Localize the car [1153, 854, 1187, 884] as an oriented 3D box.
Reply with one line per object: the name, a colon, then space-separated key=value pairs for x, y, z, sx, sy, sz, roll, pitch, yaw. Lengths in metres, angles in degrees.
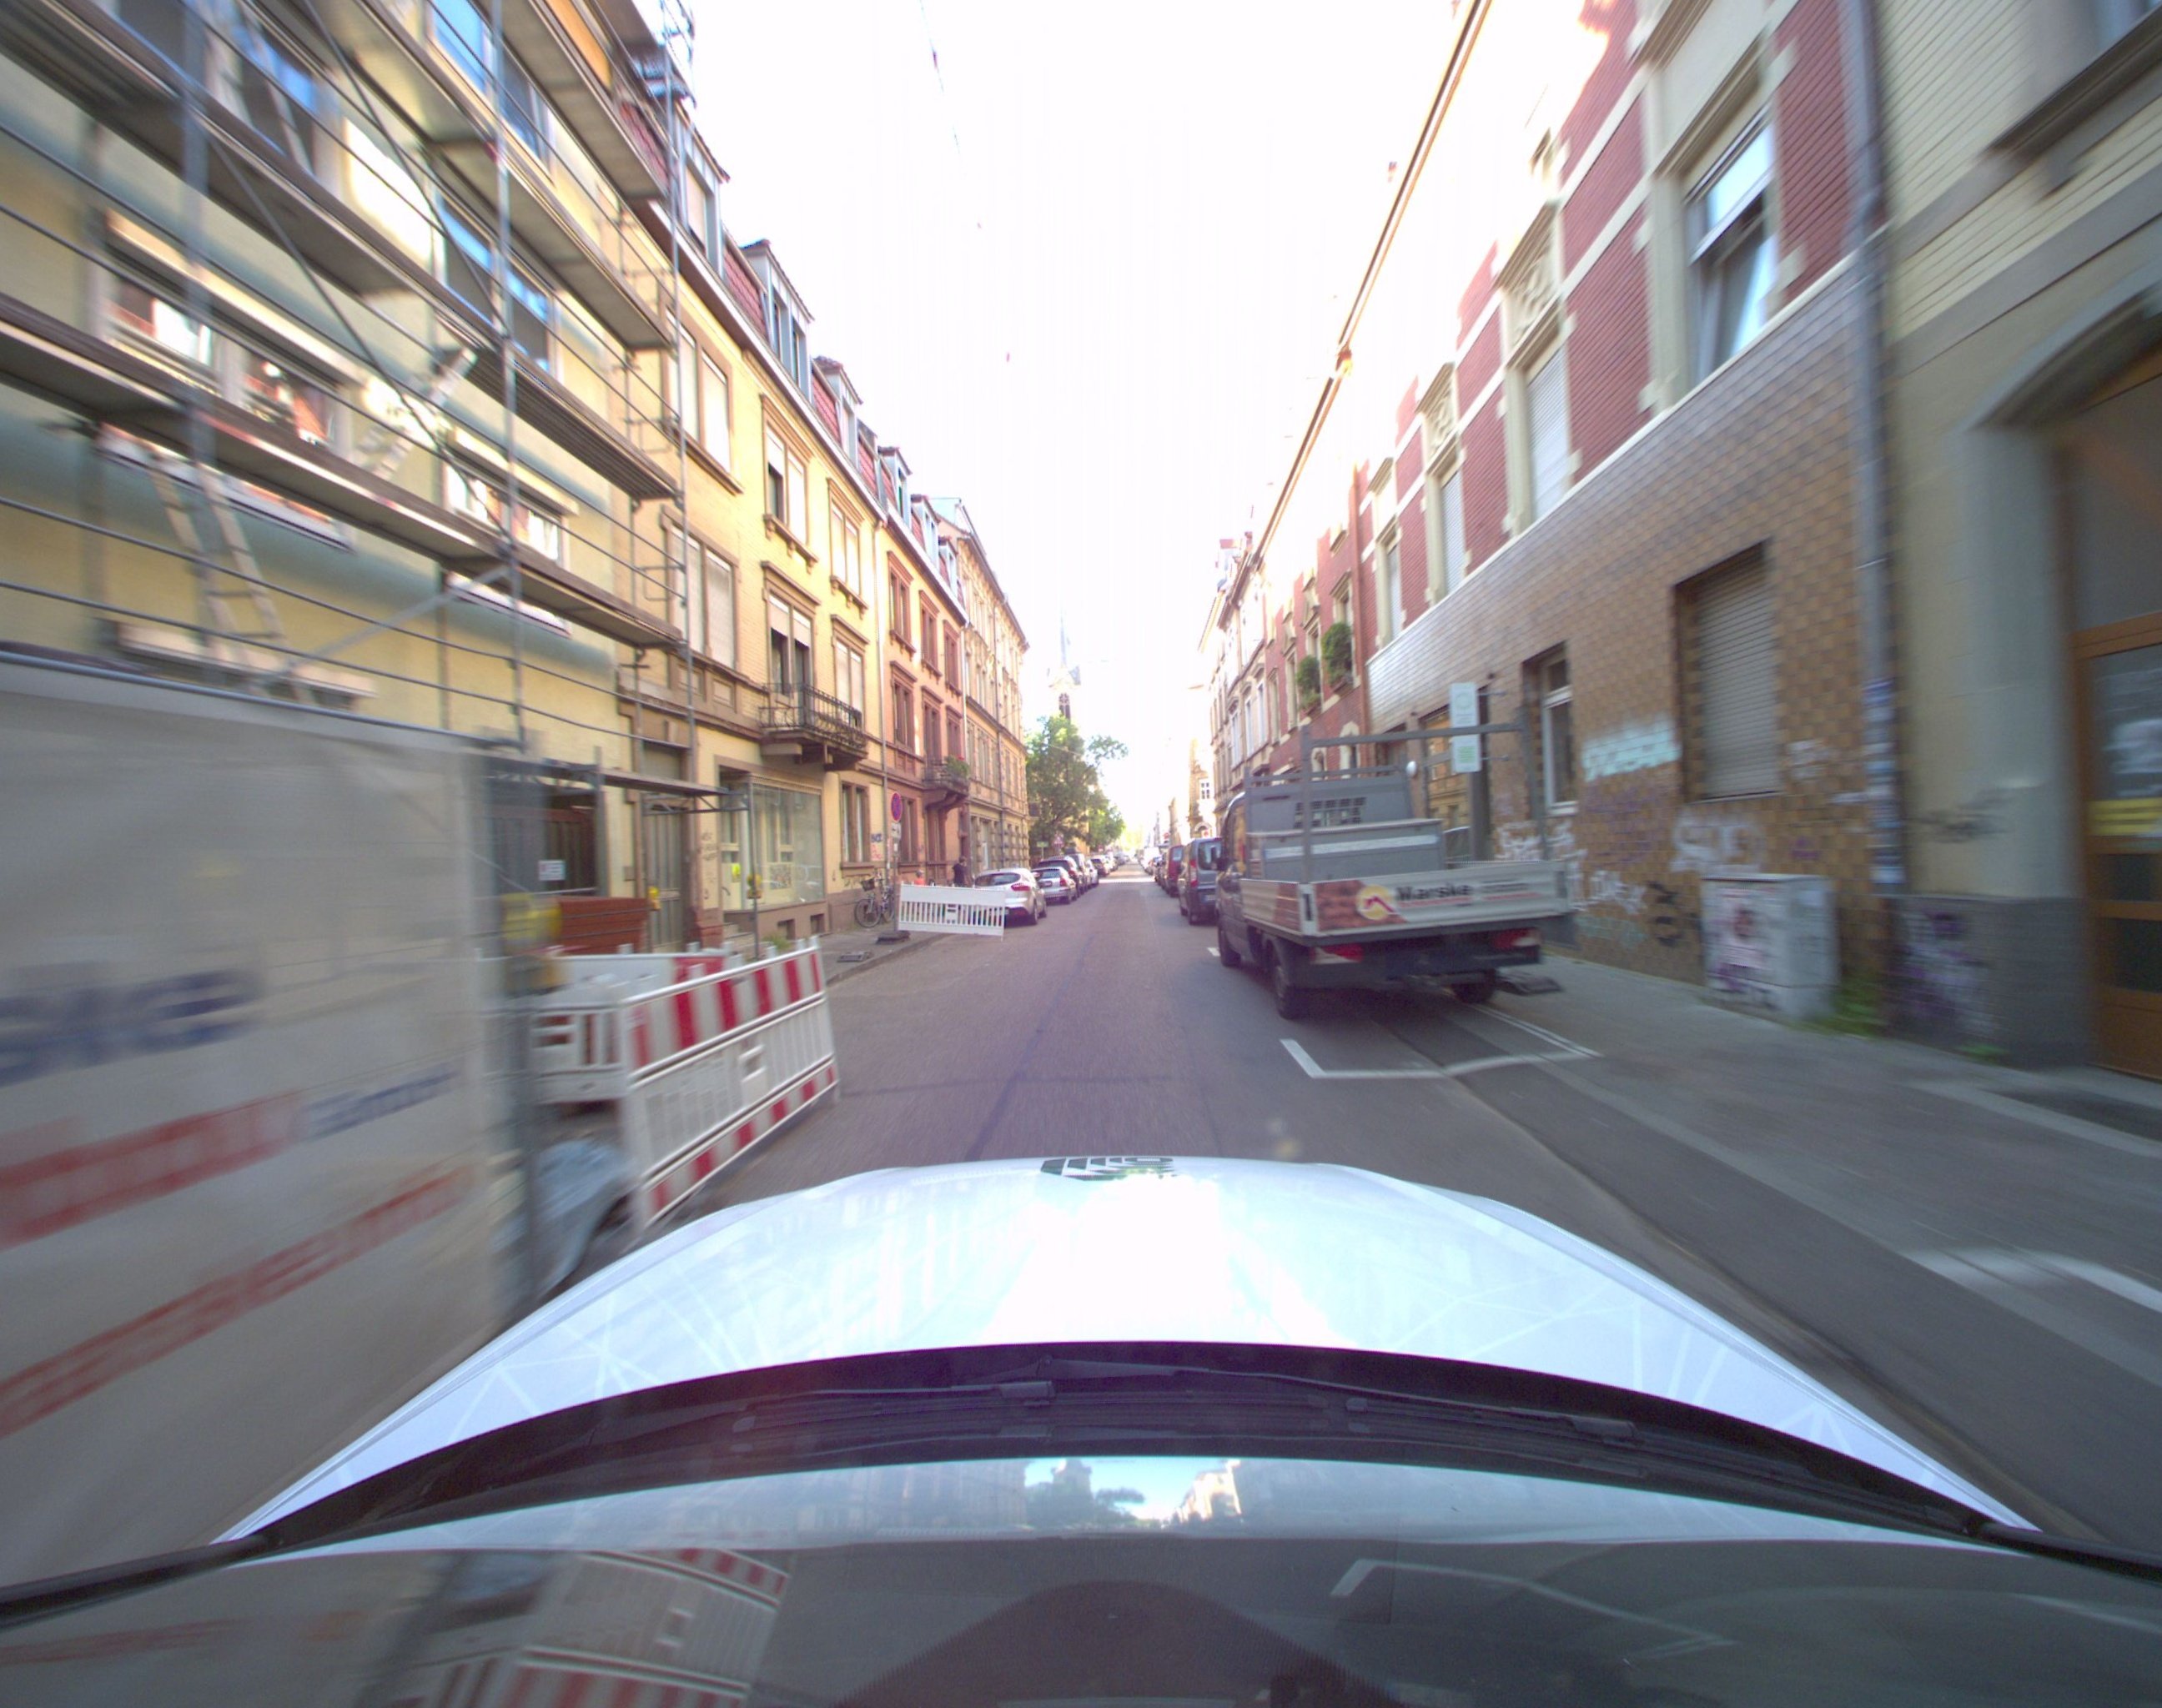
car: x=4.894 y=0.802 z=45.071 sx=1.659 sy=1.479 sz=3.892 roll=-2 pitch=0 yaw=4

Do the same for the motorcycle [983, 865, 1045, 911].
motorcycle: x=-2.177 y=1.107 z=26.170 sx=0.849 sy=1.360 sz=2.171 roll=-4 pitch=-1 yaw=-39

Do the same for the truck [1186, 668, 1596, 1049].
truck: x=2.741 y=0.045 z=9.278 sx=2.141 sy=2.657 sz=6.255 roll=-6 pitch=0 yaw=1

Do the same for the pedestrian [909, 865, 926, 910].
pedestrian: x=-4.879 y=0.991 z=24.356 sx=0.392 sy=1.306 sz=0.431 roll=-1 pitch=-1 yaw=-2

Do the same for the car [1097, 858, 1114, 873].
car: x=2.704 y=1.231 z=89.521 sx=1.734 sy=1.586 sz=3.873 roll=-2 pitch=0 yaw=4

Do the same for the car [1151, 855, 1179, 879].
car: x=5.456 y=0.829 z=53.319 sx=1.698 sy=1.459 sz=4.516 roll=-1 pitch=0 yaw=4

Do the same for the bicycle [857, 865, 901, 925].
bicycle: x=-5.039 y=1.000 z=20.440 sx=0.522 sy=1.425 sz=1.714 roll=1 pitch=-1 yaw=5

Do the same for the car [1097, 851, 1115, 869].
car: x=2.946 y=0.736 z=95.505 sx=1.856 sy=1.957 sz=4.614 roll=-4 pitch=-1 yaw=3

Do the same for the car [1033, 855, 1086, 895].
car: x=-0.864 y=0.861 z=35.260 sx=1.779 sy=1.624 sz=4.613 roll=-1 pitch=0 yaw=5

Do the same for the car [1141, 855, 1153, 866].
car: x=9.293 y=0.958 z=115.044 sx=1.596 sy=1.505 sz=4.005 roll=-1 pitch=0 yaw=5

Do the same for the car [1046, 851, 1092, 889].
car: x=-0.540 y=0.769 z=40.617 sx=1.884 sy=1.784 sz=4.613 roll=-1 pitch=0 yaw=4

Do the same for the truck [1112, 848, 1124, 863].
truck: x=8.821 y=0.403 z=193.979 sx=2.521 sy=3.282 sz=7.002 roll=-2 pitch=0 yaw=4

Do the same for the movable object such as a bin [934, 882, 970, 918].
movable object such as a bin: x=-3.719 y=1.325 z=23.560 sx=0.759 sy=0.932 sz=1.415 roll=-2 pitch=0 yaw=0

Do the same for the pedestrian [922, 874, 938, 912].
pedestrian: x=-4.468 y=1.152 z=24.123 sx=0.392 sy=1.086 sz=0.431 roll=-1 pitch=-1 yaw=-2

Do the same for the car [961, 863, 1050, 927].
car: x=-1.875 y=1.000 z=21.400 sx=1.667 sy=1.419 sz=4.003 roll=-4 pitch=-1 yaw=3

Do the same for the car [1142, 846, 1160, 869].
car: x=8.502 y=0.441 z=98.986 sx=2.059 sy=2.611 sz=5.894 roll=-2 pitch=0 yaw=4

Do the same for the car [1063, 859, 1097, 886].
car: x=-0.017 y=0.990 z=45.271 sx=1.667 sy=1.420 sz=3.876 roll=-1 pitch=0 yaw=2

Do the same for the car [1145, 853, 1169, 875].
car: x=6.456 y=0.860 z=69.572 sx=1.697 sy=1.714 sz=3.939 roll=-3 pitch=0 yaw=2

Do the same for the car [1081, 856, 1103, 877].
car: x=0.965 y=0.994 z=68.339 sx=1.734 sy=1.646 sz=4.290 roll=-2 pitch=0 yaw=1

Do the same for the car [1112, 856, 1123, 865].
car: x=7.024 y=1.234 z=155.594 sx=1.867 sy=1.796 sz=4.004 roll=-2 pitch=0 yaw=4

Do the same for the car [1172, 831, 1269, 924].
car: x=3.224 y=0.503 z=19.684 sx=1.837 sy=1.984 sz=4.580 roll=0 pitch=0 yaw=3

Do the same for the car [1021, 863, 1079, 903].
car: x=-1.085 y=1.029 z=30.228 sx=1.691 sy=1.314 sz=4.004 roll=1 pitch=-1 yaw=4

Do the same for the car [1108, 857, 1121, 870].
car: x=4.831 y=1.353 z=116.412 sx=1.593 sy=1.614 sz=3.811 roll=-5 pitch=-1 yaw=3

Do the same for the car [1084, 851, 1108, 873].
car: x=1.374 y=0.687 z=73.671 sx=1.837 sy=1.862 sz=4.471 roll=-2 pitch=0 yaw=5

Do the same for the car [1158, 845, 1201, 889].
car: x=4.580 y=0.585 z=38.251 sx=1.762 sy=1.961 sz=4.268 roll=-1 pitch=0 yaw=4

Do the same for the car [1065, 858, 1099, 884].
car: x=0.099 y=1.000 z=49.564 sx=1.715 sy=1.481 sz=4.094 roll=-1 pitch=0 yaw=4

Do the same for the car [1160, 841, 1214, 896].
car: x=4.144 y=0.537 z=32.507 sx=1.824 sy=2.014 sz=4.746 roll=-1 pitch=0 yaw=4

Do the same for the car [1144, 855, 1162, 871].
car: x=7.471 y=0.932 z=84.397 sx=1.799 sy=1.690 sz=4.219 roll=0 pitch=-1 yaw=4

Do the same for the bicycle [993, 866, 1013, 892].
bicycle: x=-3.617 y=1.151 z=37.880 sx=0.664 sy=1.125 sz=1.787 roll=0 pitch=0 yaw=4

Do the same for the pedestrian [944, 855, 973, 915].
pedestrian: x=-3.712 y=0.915 z=24.729 sx=0.683 sy=1.765 sz=0.887 roll=-2 pitch=-1 yaw=0
